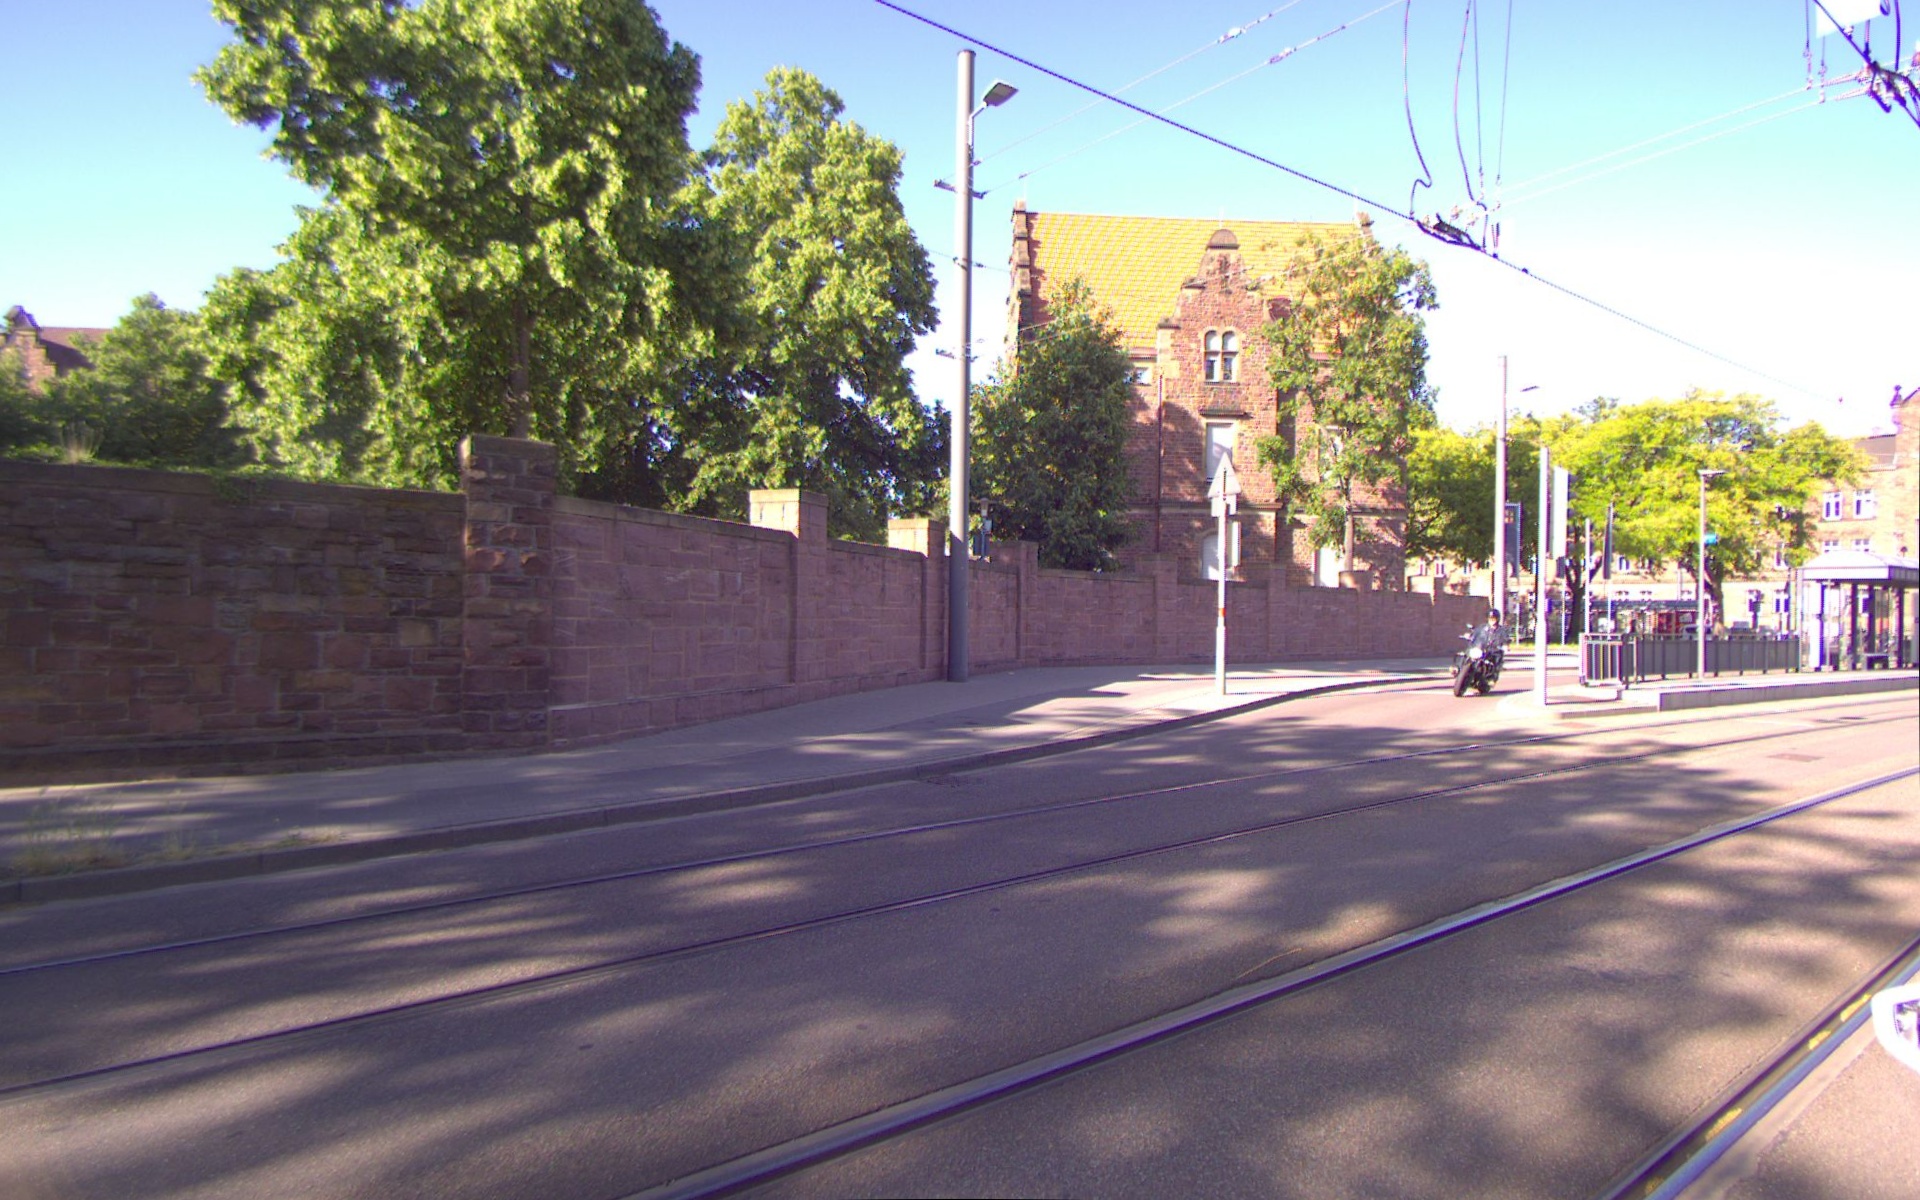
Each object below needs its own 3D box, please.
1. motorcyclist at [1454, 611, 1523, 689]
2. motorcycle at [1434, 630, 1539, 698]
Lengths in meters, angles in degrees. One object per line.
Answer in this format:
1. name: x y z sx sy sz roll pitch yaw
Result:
1. motorcyclist: 9.975 0.925 18.963 0.901 1.401 0.881 1 0 -40
2. motorcycle: 9.963 1.171 18.964 2.409 1.169 0.904 1 -1 -40
